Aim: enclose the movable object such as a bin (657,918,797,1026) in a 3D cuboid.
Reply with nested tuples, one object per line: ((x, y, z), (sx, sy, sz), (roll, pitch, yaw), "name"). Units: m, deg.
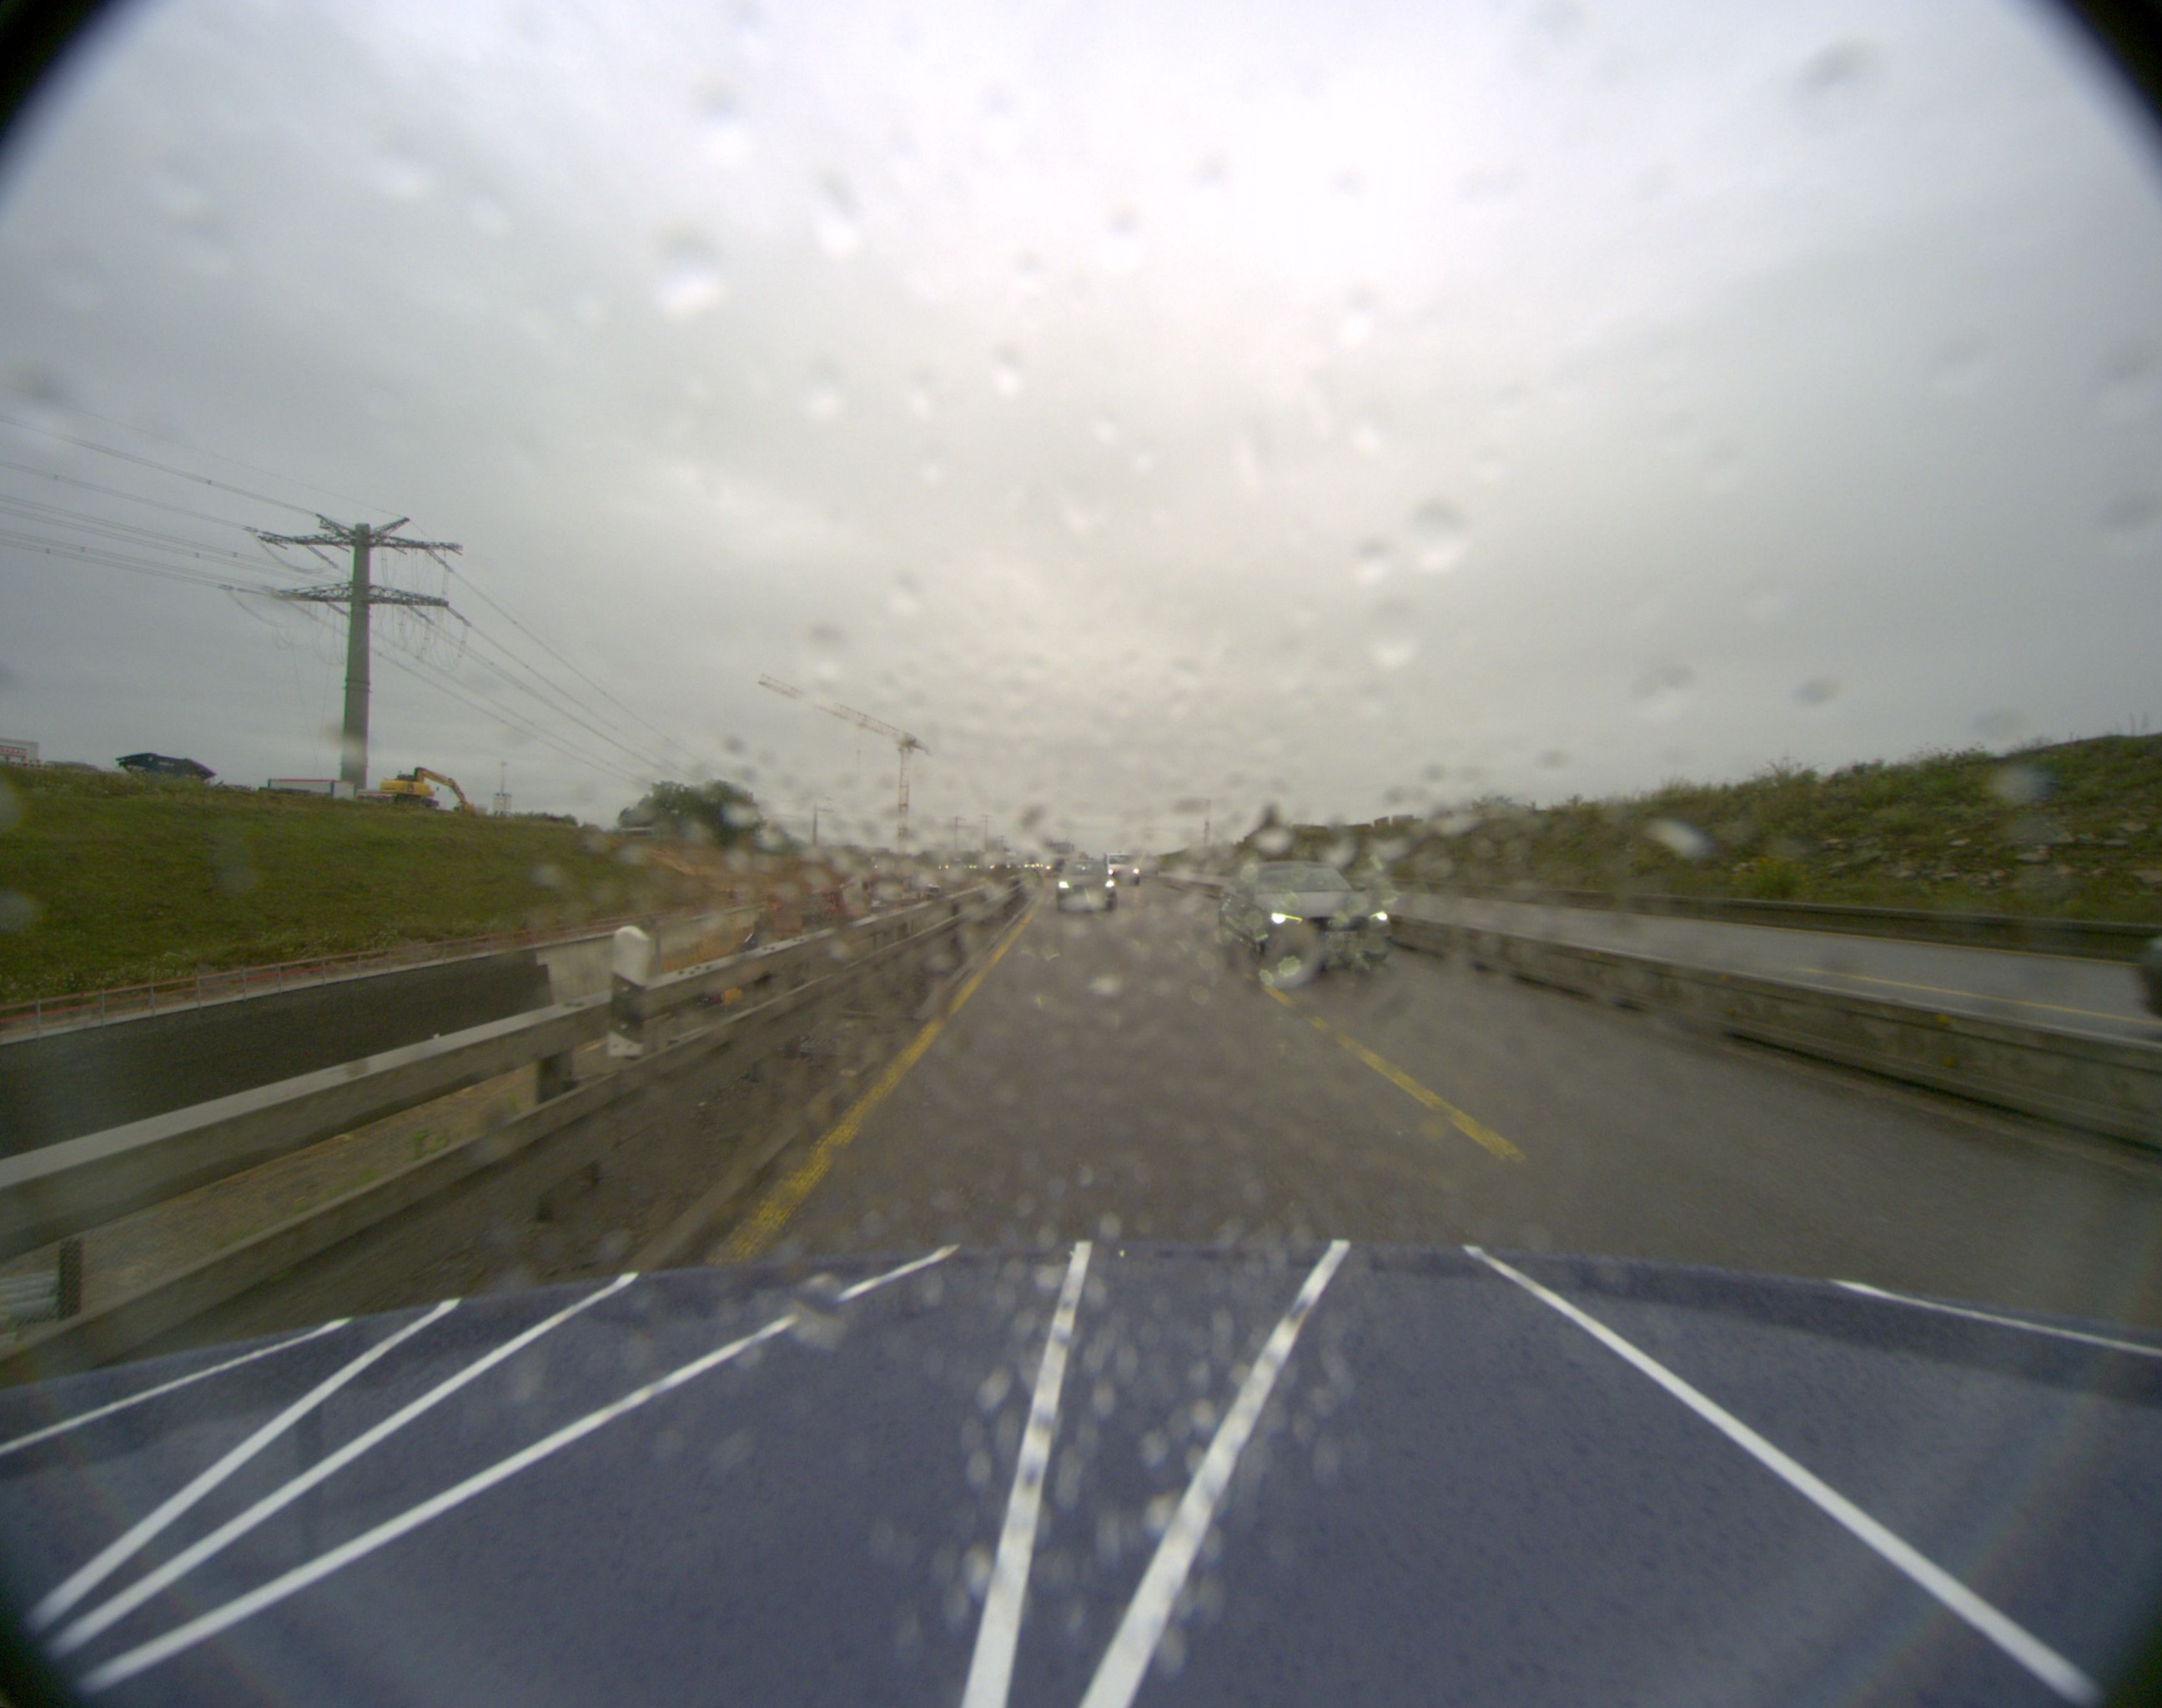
((-26.489, 8.586, 58.074), (4.907, 5.639, 12.082), (-3, 3, -2), "movable object such as a bin")

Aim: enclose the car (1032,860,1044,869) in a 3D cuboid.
((-8.802, 2.108, 154.739), (1.791, 1.646, 3.996), (-3, 0, -11), "car")

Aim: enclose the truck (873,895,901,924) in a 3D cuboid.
((-29.135, 8.284, 114.611), (2.711, 3.591, 9.068), (0, 1, -5), "truck")

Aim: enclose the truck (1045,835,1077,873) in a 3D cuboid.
((-2.061, -0.041, 74.632), (2.857, 3.462, 8.641), (-2, 0, -3), "truck")

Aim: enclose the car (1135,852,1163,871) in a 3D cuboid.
((5.752, 0.593, 64.885), (1.816, 1.584, 4.901), (0, 0, -1), "car")

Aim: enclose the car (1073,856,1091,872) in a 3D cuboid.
((0.094, 1.196, 89.116), (1.790, 1.744, 3.998), (-3, 0, -5), "car")

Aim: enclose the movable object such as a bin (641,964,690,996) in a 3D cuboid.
((-35.187, 10.649, 64.391), (2.524, 1.900, 3.254), (-4, 1, -8), "movable object such as a bin")

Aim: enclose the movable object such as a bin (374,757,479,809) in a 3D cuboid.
((-62.494, -6.677, 72.861), (3.107, 4.181, 8.177), (0, 0, -1), "movable object such as a bin")

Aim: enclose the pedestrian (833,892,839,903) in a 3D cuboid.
((-43.002, 7.618, 133.517), (0.488, 1.794, 0.583), (-5, 2, 31), "pedestrian")

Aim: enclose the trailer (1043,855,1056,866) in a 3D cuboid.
((-7.649, 1.591, 184.471), (2.518, 2.549, 7.158), (-2, 0, -7), "trailer")

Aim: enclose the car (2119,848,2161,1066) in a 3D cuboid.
((8.403, 0.699, 3.500), (1.718, 1.527, 4.046), (-3, 0, 1), "car")

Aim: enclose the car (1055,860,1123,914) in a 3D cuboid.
((0.163, 0.951, 23.937), (1.875, 1.481, 4.260), (-1, 0, -2), "car")

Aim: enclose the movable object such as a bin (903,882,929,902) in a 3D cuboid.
((-32.054, 7.382, 148.288), (3.517, 3.405, 6.651), (-2, 1, 0), "movable object such as a bin")

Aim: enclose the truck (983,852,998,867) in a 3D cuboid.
((-25.595, 1.480, 214.579), (3.549, 3.870, 8.327), (-3, 0, -12), "truck")

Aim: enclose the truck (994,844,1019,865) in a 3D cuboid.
((-16.342, 0.155, 166.082), (4.321, 4.319, 13.397), (-3, 0, -9), "truck")

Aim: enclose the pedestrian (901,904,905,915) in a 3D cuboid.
((-30.409, 9.512, 129.768), (0.603, 1.894, 0.614), (0, 1, -9), "pedestrian")

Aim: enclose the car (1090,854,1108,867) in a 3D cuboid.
((2.403, 0.832, 102.340), (2.051, 1.623, 4.987), (-1, 0, -4), "car")

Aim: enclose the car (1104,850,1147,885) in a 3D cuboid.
((2.548, 0.733, 45.128), (2.070, 1.933, 5.155), (-1, 0, -2), "car")

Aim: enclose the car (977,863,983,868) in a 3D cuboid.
((-29.679, 3.478, 223.030), (1.791, 1.418, 3.997), (-3, 0, -9), "car")

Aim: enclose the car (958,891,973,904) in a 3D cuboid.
((-23.112, 8.753, 152.394), (1.999, 2.002, 3.999), (-15, 0, -1), "car")

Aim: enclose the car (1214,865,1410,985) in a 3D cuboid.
((3.244, 0.919, 11.551), (1.804, 1.375, 4.088), (-1, 0, 1), "car")

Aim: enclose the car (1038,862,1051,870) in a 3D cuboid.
((-6.660, 2.176, 137.511), (1.791, 1.418, 3.997), (-3, 0, -9), "car")

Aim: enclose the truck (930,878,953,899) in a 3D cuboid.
((-28.482, 6.939, 155.202), (3.361, 3.521, 8.902), (-1, 2, -3), "truck")

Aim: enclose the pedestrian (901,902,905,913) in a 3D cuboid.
((-30.670, 9.156, 130.894), (0.603, 1.894, 0.481), (0, 1, -9), "pedestrian")
